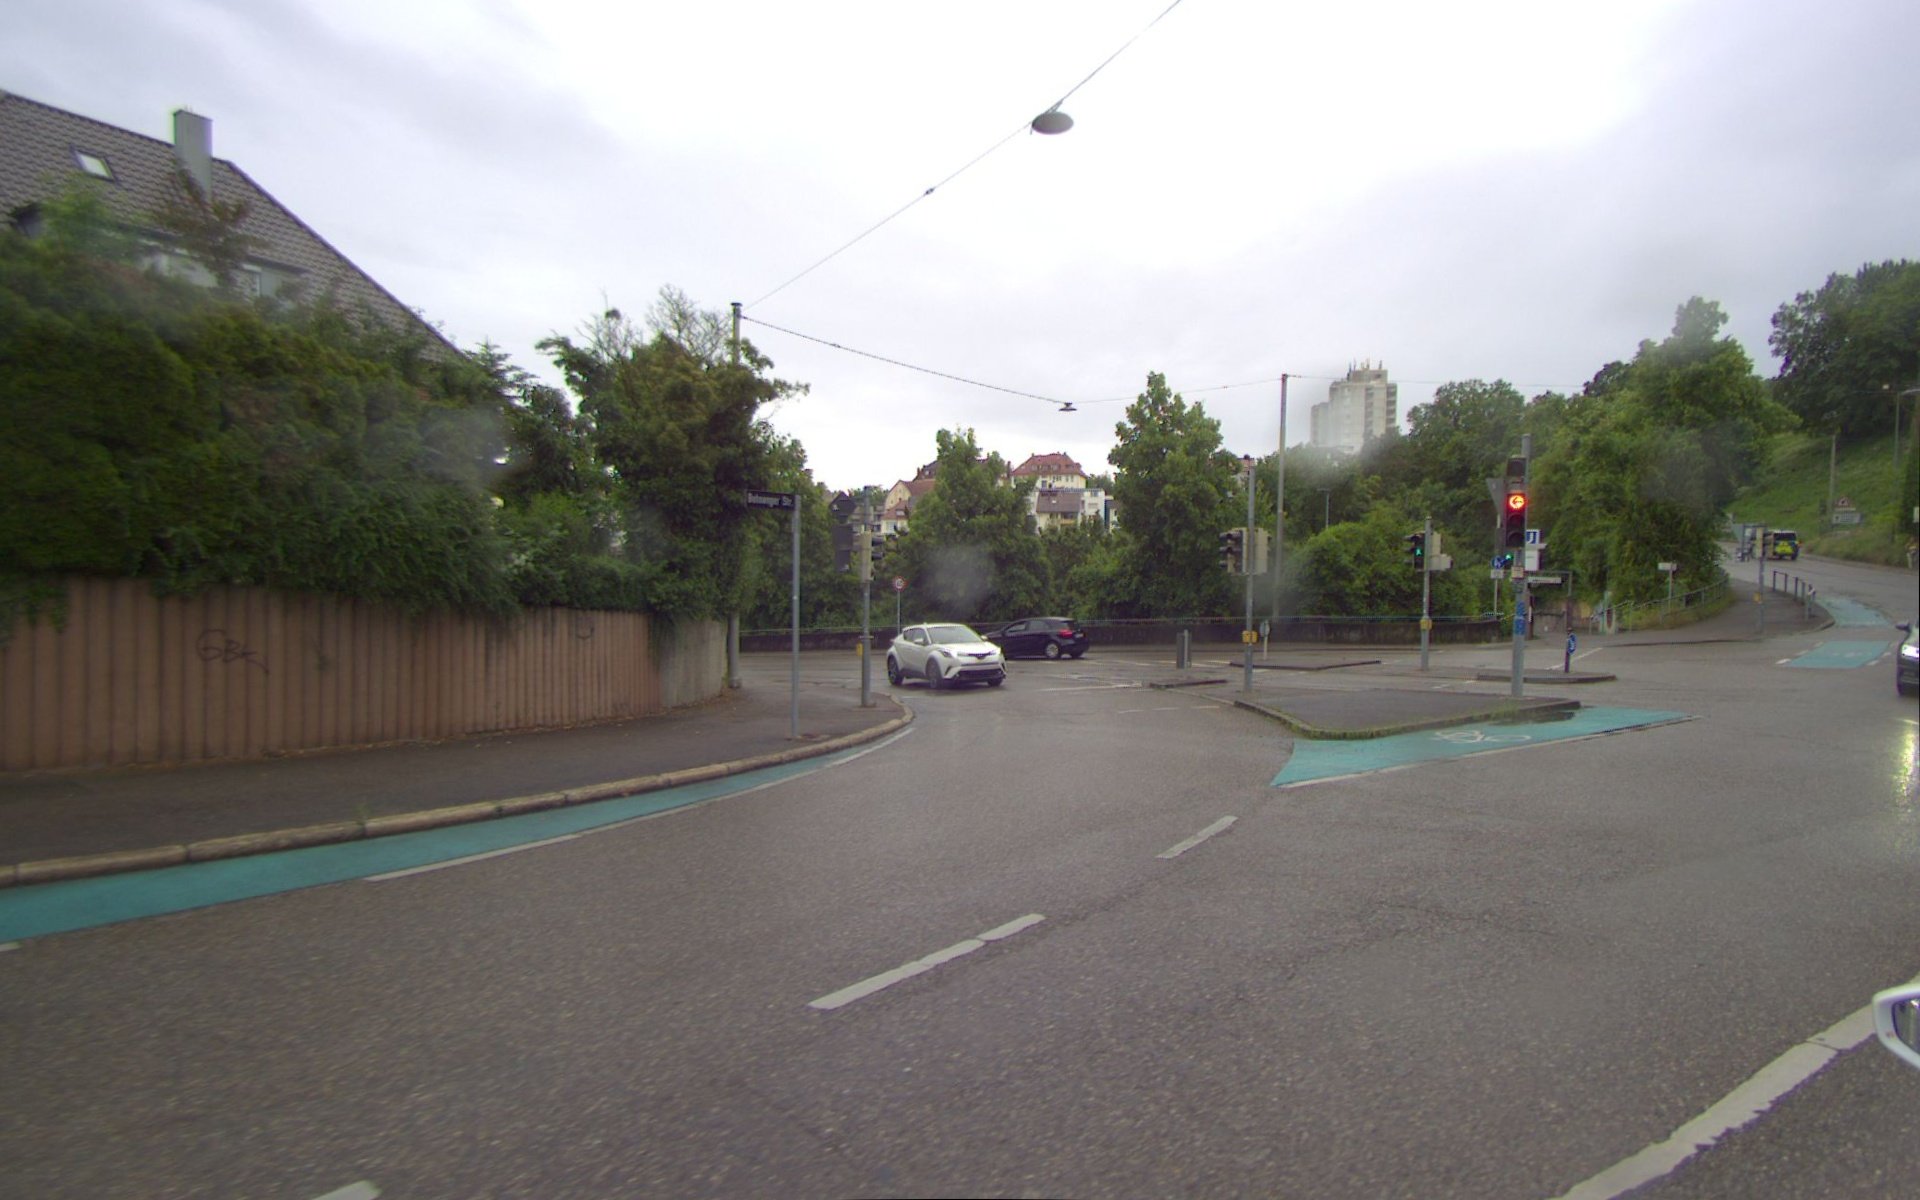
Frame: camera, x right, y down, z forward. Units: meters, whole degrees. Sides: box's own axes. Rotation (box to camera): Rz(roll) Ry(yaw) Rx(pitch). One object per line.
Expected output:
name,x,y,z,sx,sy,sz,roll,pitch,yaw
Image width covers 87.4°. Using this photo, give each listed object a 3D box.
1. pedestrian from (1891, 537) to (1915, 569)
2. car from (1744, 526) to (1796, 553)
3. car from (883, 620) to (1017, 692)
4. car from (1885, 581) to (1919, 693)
pedestrian,53.134,-2.639,56.583,0.870,1.759,0.861,2,0,40
car,56.569,-4.192,70.248,1.888,1.805,3.995,2,3,26
car,-0.336,1.349,24.831,1.812,1.527,3.861,-3,-1,-25
car,16.679,0.531,16.353,4.137,1.702,1.834,-2,1,-39
